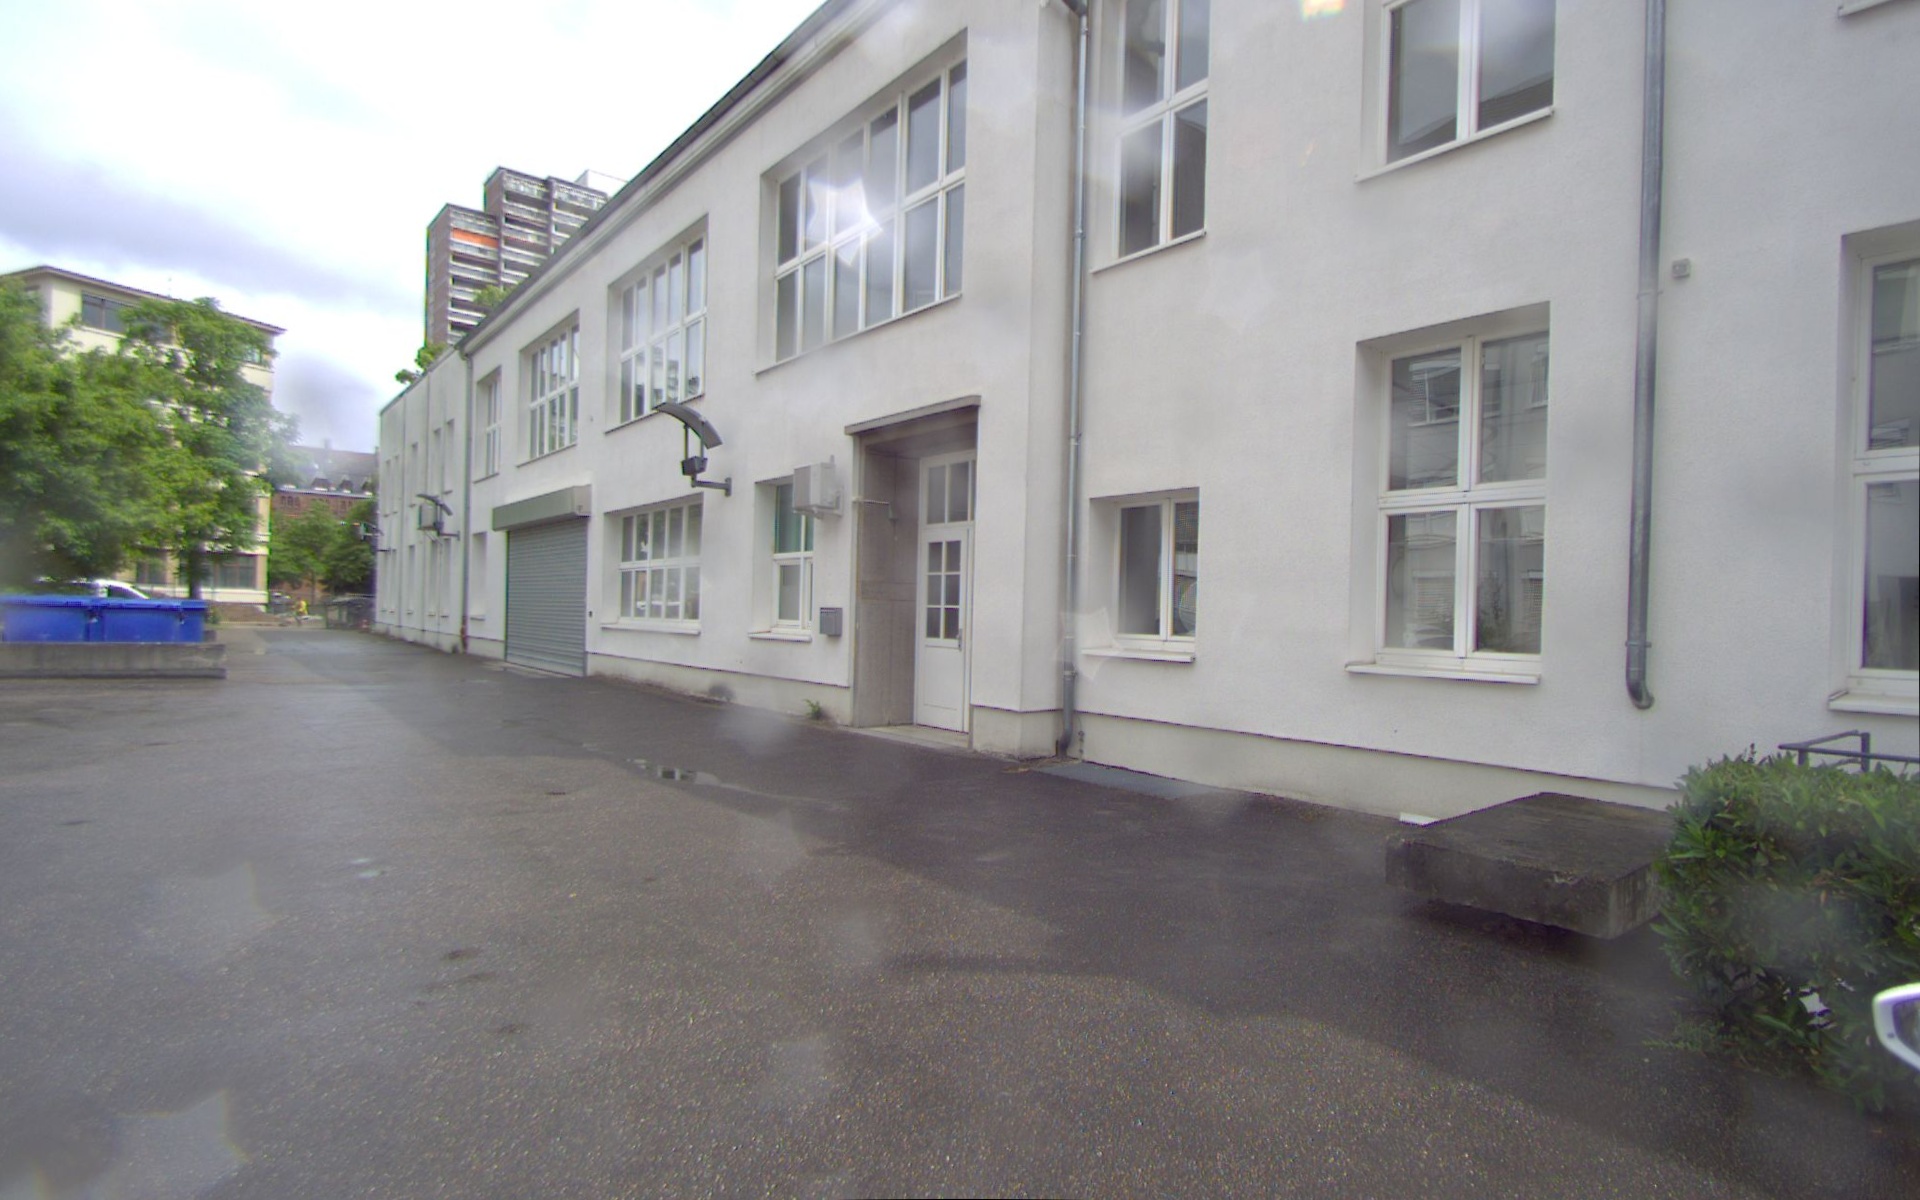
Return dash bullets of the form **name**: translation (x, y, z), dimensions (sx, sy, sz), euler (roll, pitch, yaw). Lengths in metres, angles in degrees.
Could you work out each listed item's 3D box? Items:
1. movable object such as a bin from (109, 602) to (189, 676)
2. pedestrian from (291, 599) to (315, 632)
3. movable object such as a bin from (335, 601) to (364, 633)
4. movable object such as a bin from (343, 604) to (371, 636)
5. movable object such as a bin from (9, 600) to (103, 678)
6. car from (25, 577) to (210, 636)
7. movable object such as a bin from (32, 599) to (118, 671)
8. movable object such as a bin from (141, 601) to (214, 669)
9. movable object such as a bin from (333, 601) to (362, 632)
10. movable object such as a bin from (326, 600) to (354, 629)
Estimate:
- **movable object such as a bin**: translation (-15.458, 0.723, 19.191), dimensions (1.085, 1.343, 1.196), euler (1, 0, -35)
- **pedestrian**: translation (-37.165, 0.877, 56.825), dimensions (0.848, 1.838, 0.859), euler (2, 0, 31)
- **movable object such as a bin**: translation (-27.449, 0.770, 45.160), dimensions (1.036, 1.374, 1.196), euler (1, 0, -35)
- **movable object such as a bin**: translation (-26.289, 0.883, 43.813), dimensions (0.969, 1.374, 0.910), euler (1, 0, -35)
- **movable object such as a bin**: translation (-16.501, 0.691, 18.370), dimensions (1.120, 1.346, 1.196), euler (1, 0, -35)
- **car**: translation (-26.599, 0.216, 31.913), dimensions (4.289, 1.750, 1.706), euler (1, 0, -34)
- **movable object such as a bin**: translation (-17.375, 0.668, 19.752), dimensions (1.120, 1.346, 1.196), euler (1, 0, -35)
- **movable object such as a bin**: translation (-16.205, 0.713, 20.842), dimensions (1.120, 1.346, 1.196), euler (1, 0, -35)
- **movable object such as a bin**: translation (-28.160, 0.752, 46.197), dimensions (1.053, 1.374, 1.206), euler (1, 0, -35)
- **movable object such as a bin**: translation (-29.946, 0.706, 48.510), dimensions (1.056, 1.374, 1.252), euler (1, 0, -35)
